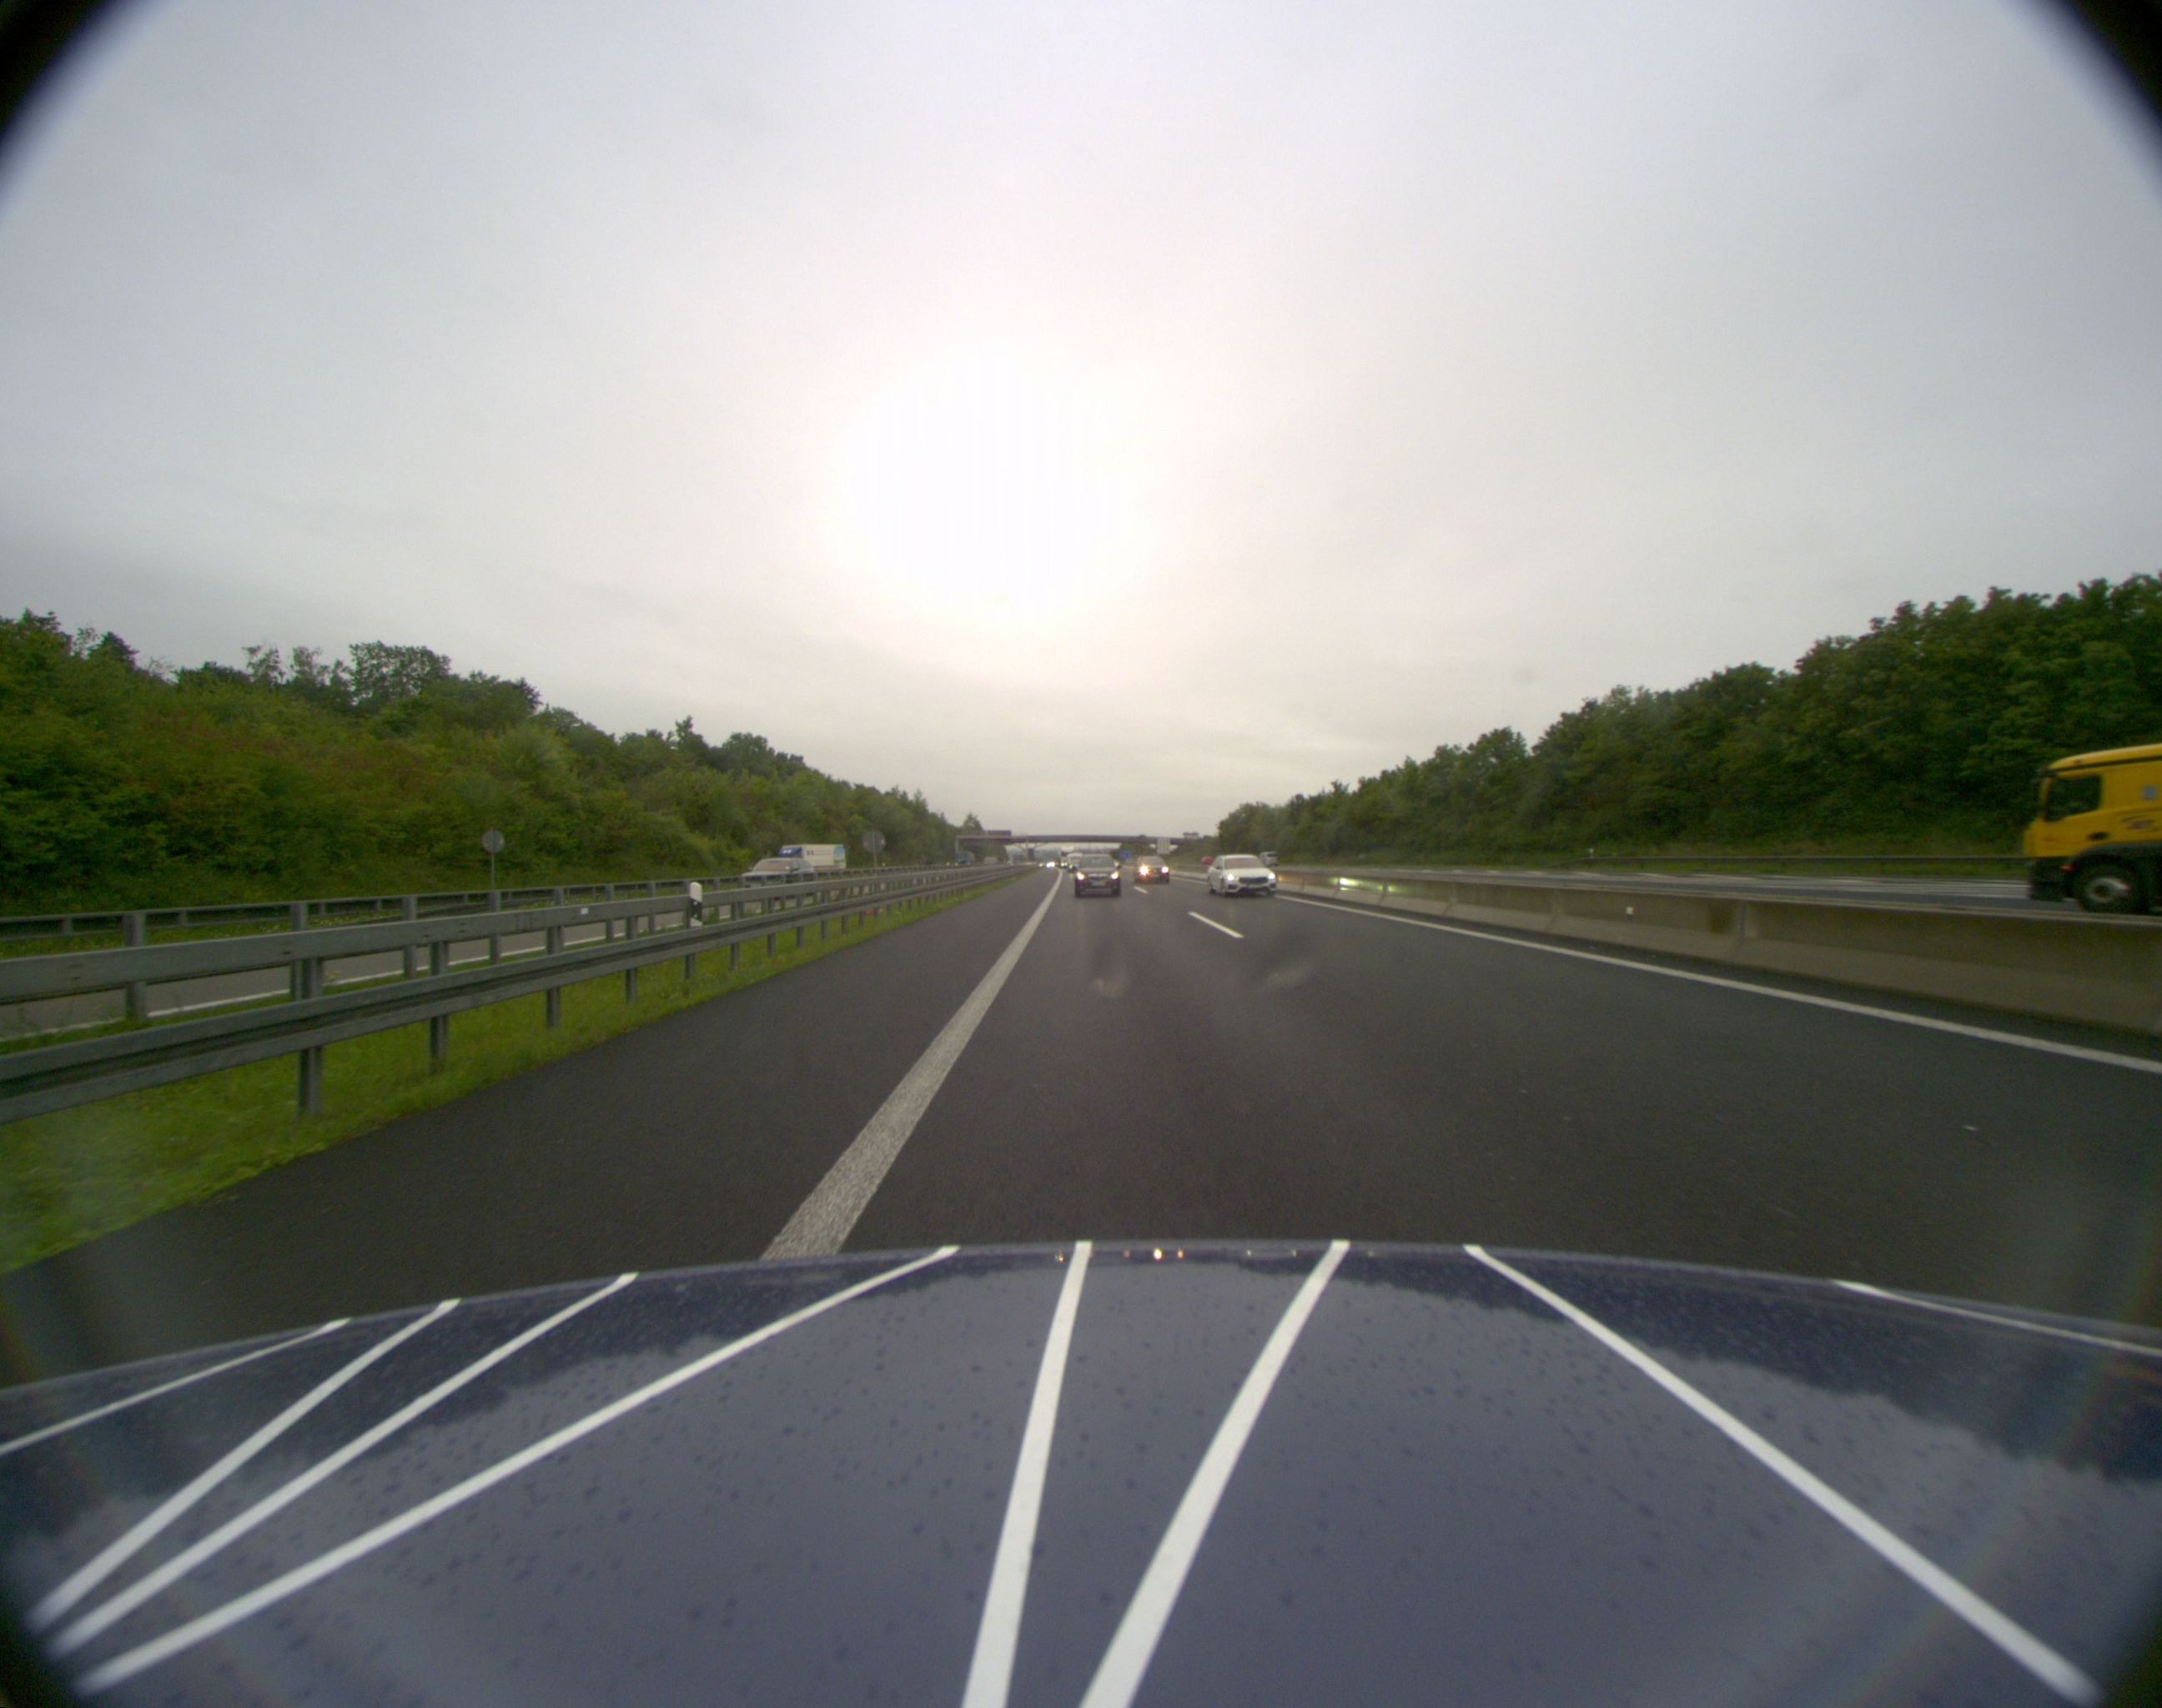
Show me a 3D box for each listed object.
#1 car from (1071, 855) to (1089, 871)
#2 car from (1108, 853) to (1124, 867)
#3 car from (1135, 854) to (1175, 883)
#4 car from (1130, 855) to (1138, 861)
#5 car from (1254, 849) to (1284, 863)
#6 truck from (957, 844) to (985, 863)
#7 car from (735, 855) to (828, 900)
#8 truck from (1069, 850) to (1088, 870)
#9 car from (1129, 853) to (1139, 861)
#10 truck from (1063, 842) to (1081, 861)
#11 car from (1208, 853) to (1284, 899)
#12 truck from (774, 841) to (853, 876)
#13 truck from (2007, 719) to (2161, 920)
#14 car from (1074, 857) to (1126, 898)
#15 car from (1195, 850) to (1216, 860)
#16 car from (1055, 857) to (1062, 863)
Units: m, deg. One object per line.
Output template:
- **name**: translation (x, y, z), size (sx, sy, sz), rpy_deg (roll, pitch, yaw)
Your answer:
- **car**: translation (-0.077, 0.939, 82.628), size (1.825, 1.669, 4.000), rpy_deg (-1, 0, 1)
- **car**: translation (4.390, 0.697, 95.957), size (1.716, 1.724, 3.999), rpy_deg (-1, 0, -1)
- **car**: translation (4.180, 0.787, 43.240), size (1.905, 1.497, 4.114), rpy_deg (-1, 0, 1)
- **car**: translation (14.826, 1.105, 212.529), size (2.185, 1.625, 4.537), rpy_deg (-1, 0, 1)
- **car**: translation (24.055, 0.237, 97.568), size (2.187, 1.686, 4.565), rpy_deg (-1, 0, -8)
- **truck**: translation (-21.161, -0.049, 146.784), size (2.908, 3.397, 13.355), rpy_deg (-1, 0, 2)
- **car**: translation (-12.163, 0.917, 31.253), size (2.013, 1.645, 4.472), rpy_deg (-1, 0, 0)
- **truck**: translation (-0.243, 0.665, 89.442), size (2.175, 2.214, 5.642), rpy_deg (-1, 0, 1)
- **car**: translation (12.368, 0.718, 177.364), size (2.185, 1.686, 5.251), rpy_deg (-1, 0, 3)
- **truck**: translation (-1.740, -0.467, 143.568), size (3.154, 3.332, 13.099), rpy_deg (-1, 0, -1)
- **car**: translation (5.867, 0.743, 27.484), size (1.905, 1.497, 4.114), rpy_deg (-1, 0, 1)
- **truck**: translation (-27.752, 0.397, 79.339), size (2.905, 3.397, 9.293), rpy_deg (-1, 0, 15)
- **truck**: translation (19.474, -0.625, 11.965), size (2.768, 3.378, 5.846), rpy_deg (-2, 1, 3)
- **car**: translation (0.742, 0.882, 30.530), size (1.905, 1.497, 4.114), rpy_deg (-1, 0, 1)
- **car**: translation (21.603, 0.215, 131.983), size (2.187, 1.686, 4.624), rpy_deg (-1, 0, -10)
- **car**: translation (-6.646, 1.664, 223.801), size (1.917, 1.671, 4.000), rpy_deg (-1, 0, 1)
